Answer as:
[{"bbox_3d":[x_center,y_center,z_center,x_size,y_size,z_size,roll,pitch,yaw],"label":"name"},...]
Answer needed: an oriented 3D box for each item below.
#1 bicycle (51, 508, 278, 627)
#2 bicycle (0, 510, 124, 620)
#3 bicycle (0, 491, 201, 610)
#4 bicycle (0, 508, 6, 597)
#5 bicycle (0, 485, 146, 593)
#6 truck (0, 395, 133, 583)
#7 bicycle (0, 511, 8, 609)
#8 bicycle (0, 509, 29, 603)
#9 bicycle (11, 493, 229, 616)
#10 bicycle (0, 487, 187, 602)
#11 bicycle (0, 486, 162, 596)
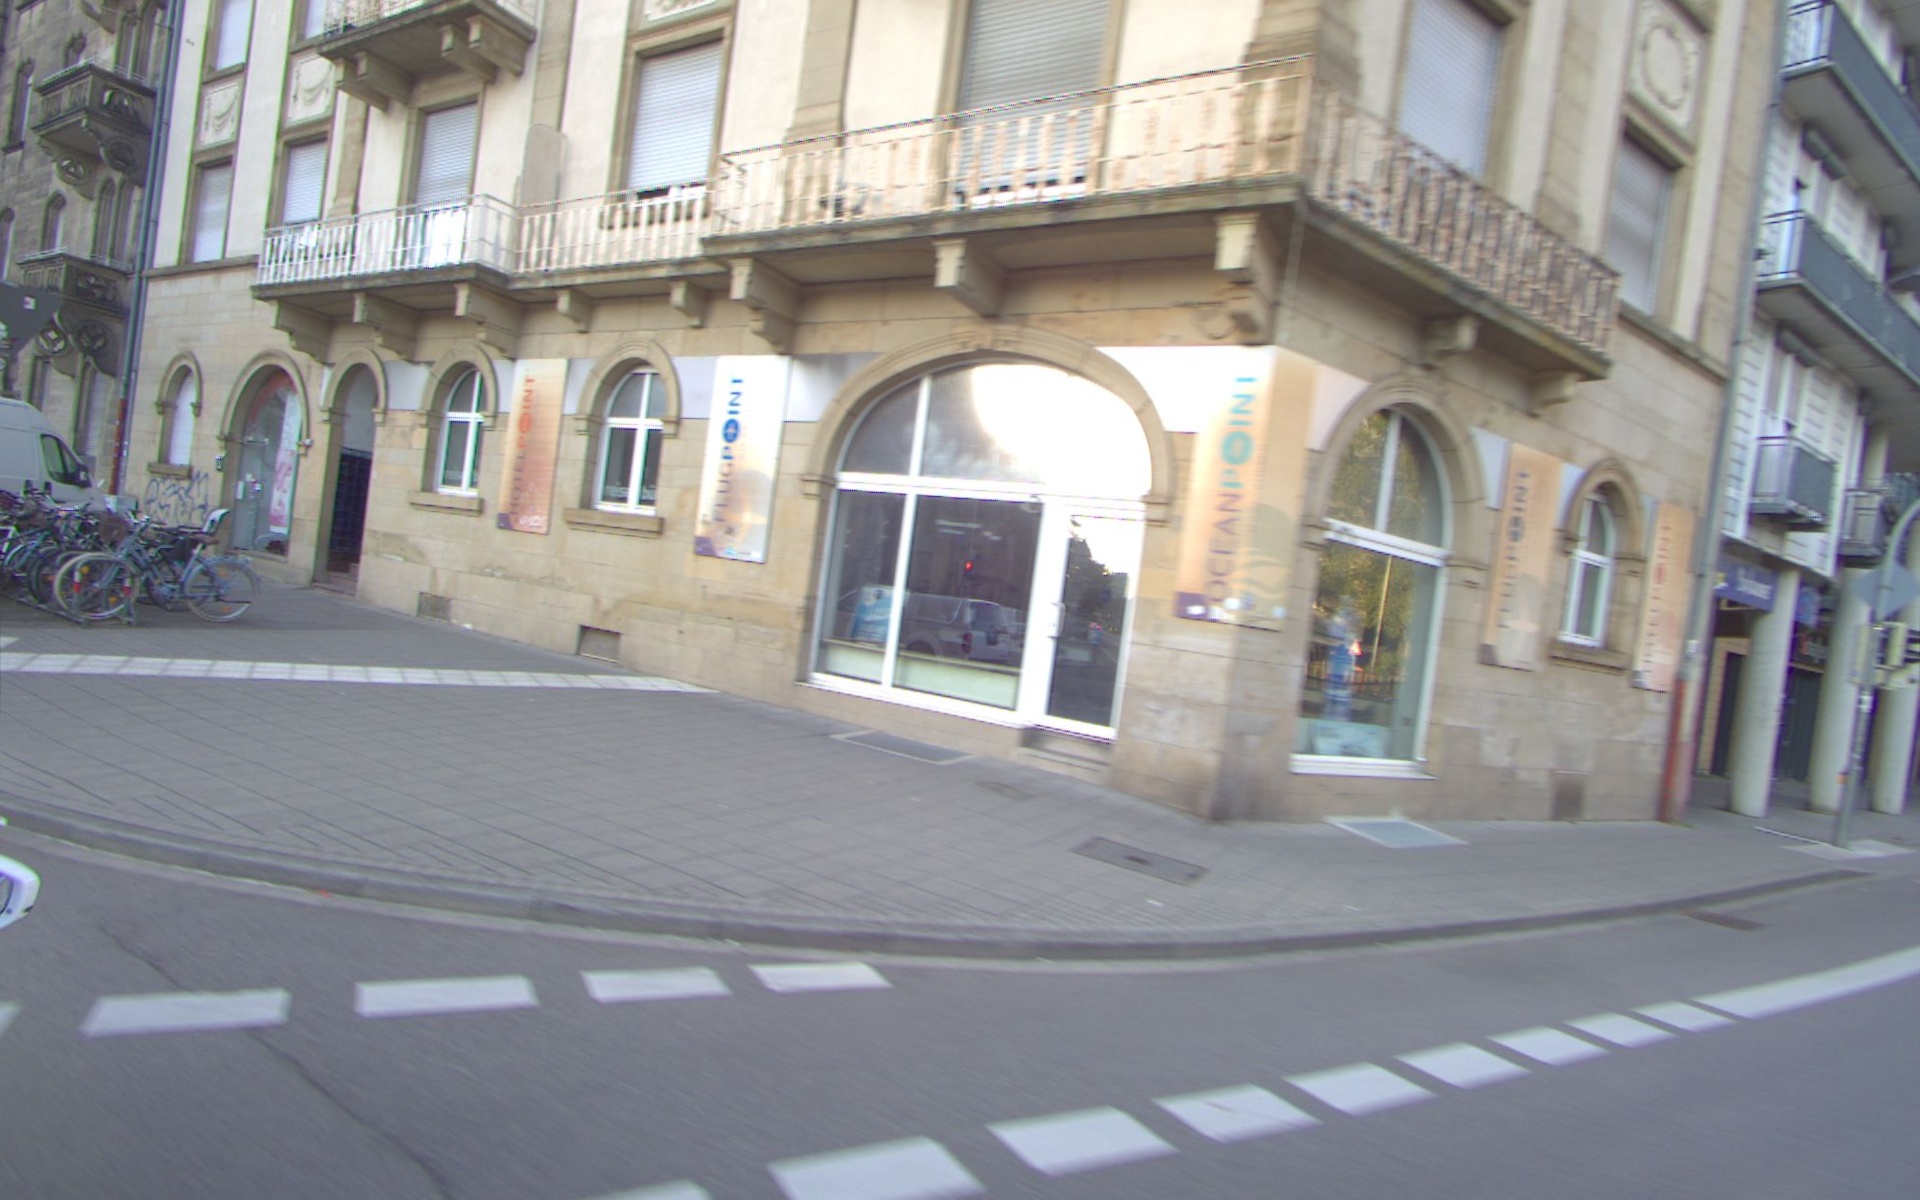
[{"bbox_3d":[-8.688,-0.319,11.068,0.625,1.165,1.818,8,3,31],"label":"bicycle"},{"bbox_3d":[-9.727,-0.360,10.322,0.312,1.098,1.727,8,3,31],"label":"bicycle"},{"bbox_3d":[-10.115,-0.547,11.827,0.470,1.254,1.818,8,3,31],"label":"bicycle"},{"bbox_3d":[-11.626,-0.581,11.250,0.312,1.038,1.333,8,3,31],"label":"bicycle"},{"bbox_3d":[-11.635,-0.774,12.826,0.522,1.254,1.855,8,3,31],"label":"bicycle"},{"bbox_3d":[-14.533,-1.714,13.712,2.250,2.595,5.664,8,-1,-10],"label":"truck"},{"bbox_3d":[-10.681,-0.450,10.447,0.312,1.038,1.077,8,3,31],"label":"bicycle"},{"bbox_3d":[-11.155,-0.520,10.995,0.312,1.038,1.371,8,3,31],"label":"bicycle"},{"bbox_3d":[-9.515,-0.474,11.474,0.480,1.254,1.818,8,3,31],"label":"bicycle"},{"bbox_3d":[-10.647,-0.646,12.306,0.405,1.254,1.818,8,3,31],"label":"bicycle"},{"bbox_3d":[-11.178,-0.717,12.574,0.403,1.254,1.818,8,3,31],"label":"bicycle"}]
